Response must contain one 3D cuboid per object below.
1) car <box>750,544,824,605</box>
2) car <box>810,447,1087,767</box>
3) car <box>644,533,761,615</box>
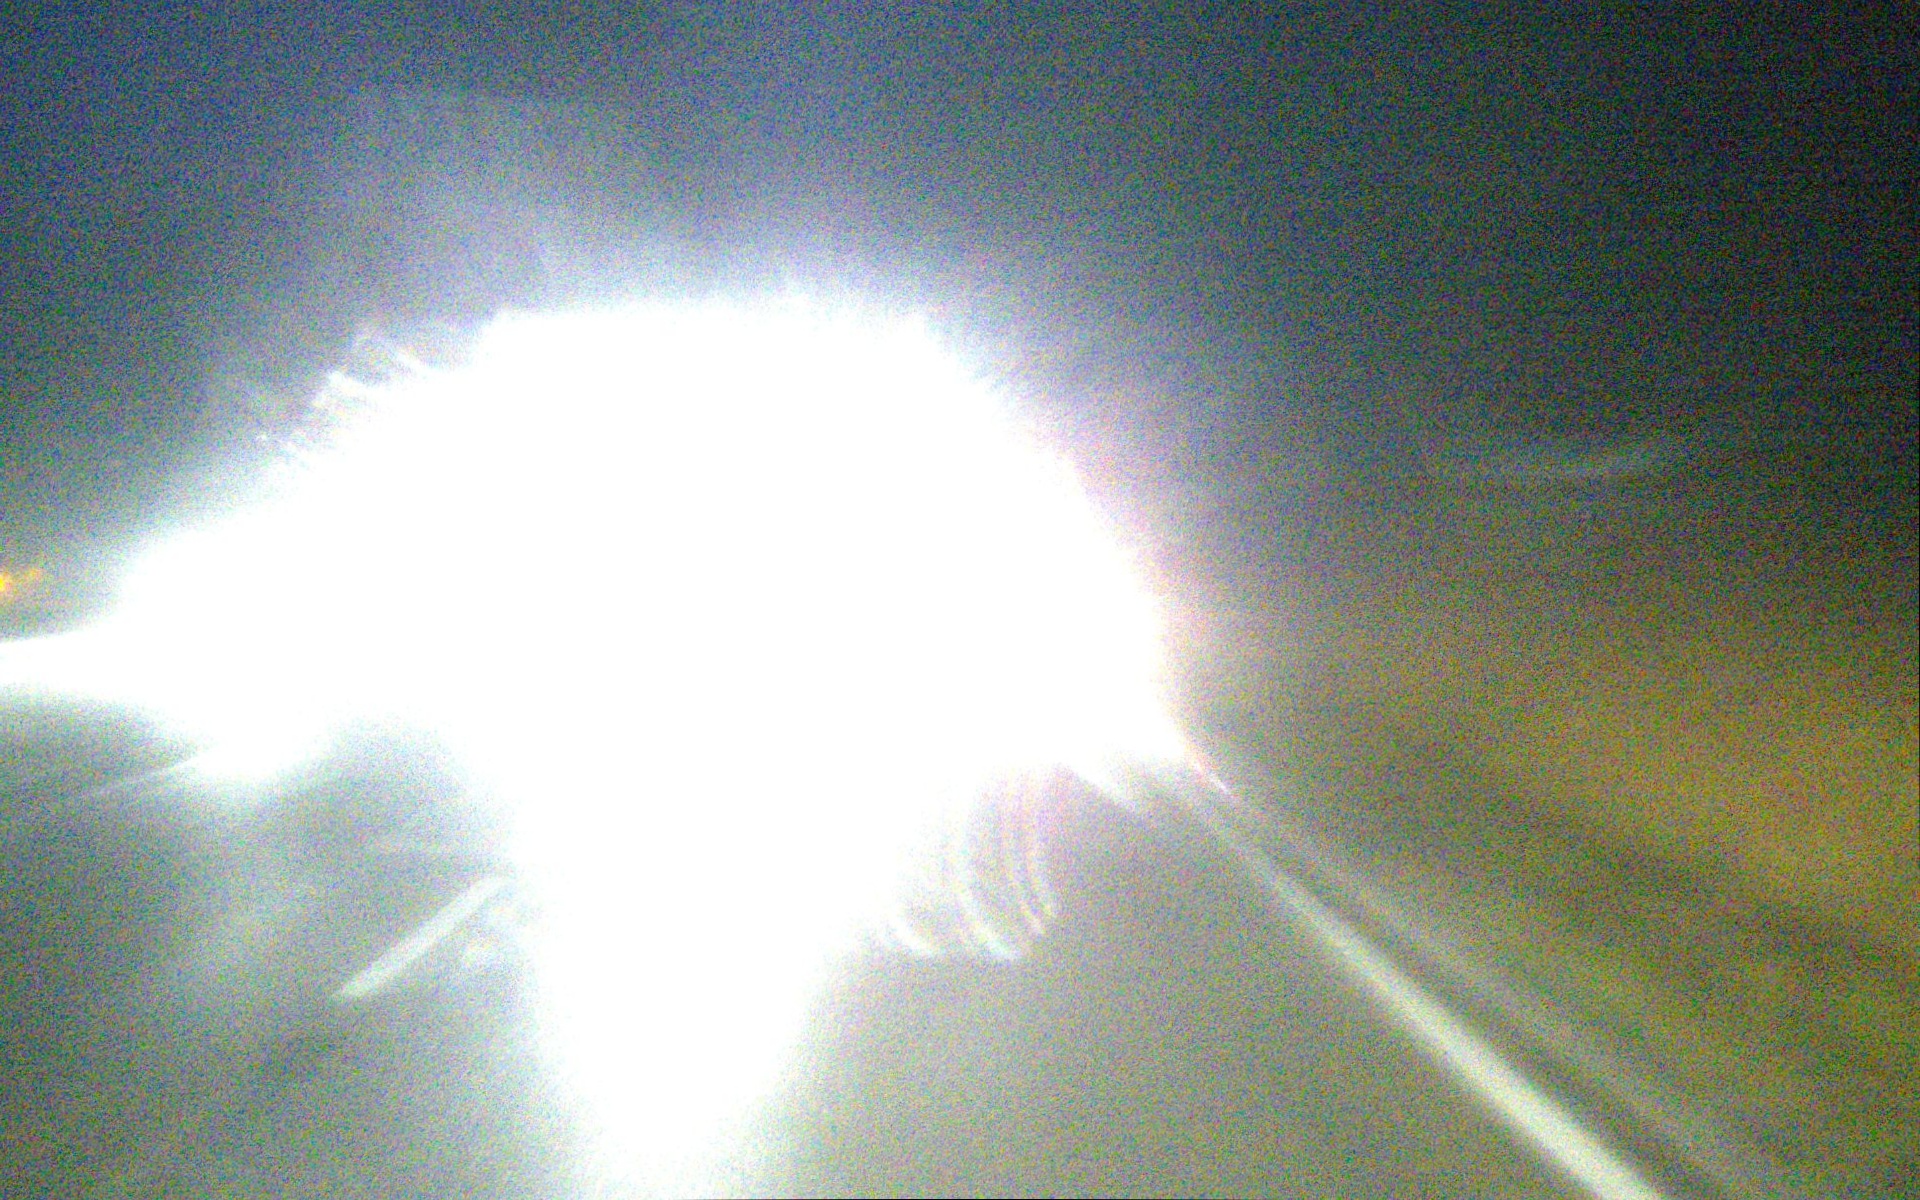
[{"bbox_3d":[-4.474,-0.675,89.362,1.785,1.505,3.600,1,1,-1],"label":"car"},{"bbox_3d":[-0.125,-0.042,30.450,2.181,2.548,4.508,2,3,-1],"label":"car"},{"bbox_3d":[-4.854,-0.514,65.280,1.974,1.511,4.347,0,1,-1],"label":"car"}]
